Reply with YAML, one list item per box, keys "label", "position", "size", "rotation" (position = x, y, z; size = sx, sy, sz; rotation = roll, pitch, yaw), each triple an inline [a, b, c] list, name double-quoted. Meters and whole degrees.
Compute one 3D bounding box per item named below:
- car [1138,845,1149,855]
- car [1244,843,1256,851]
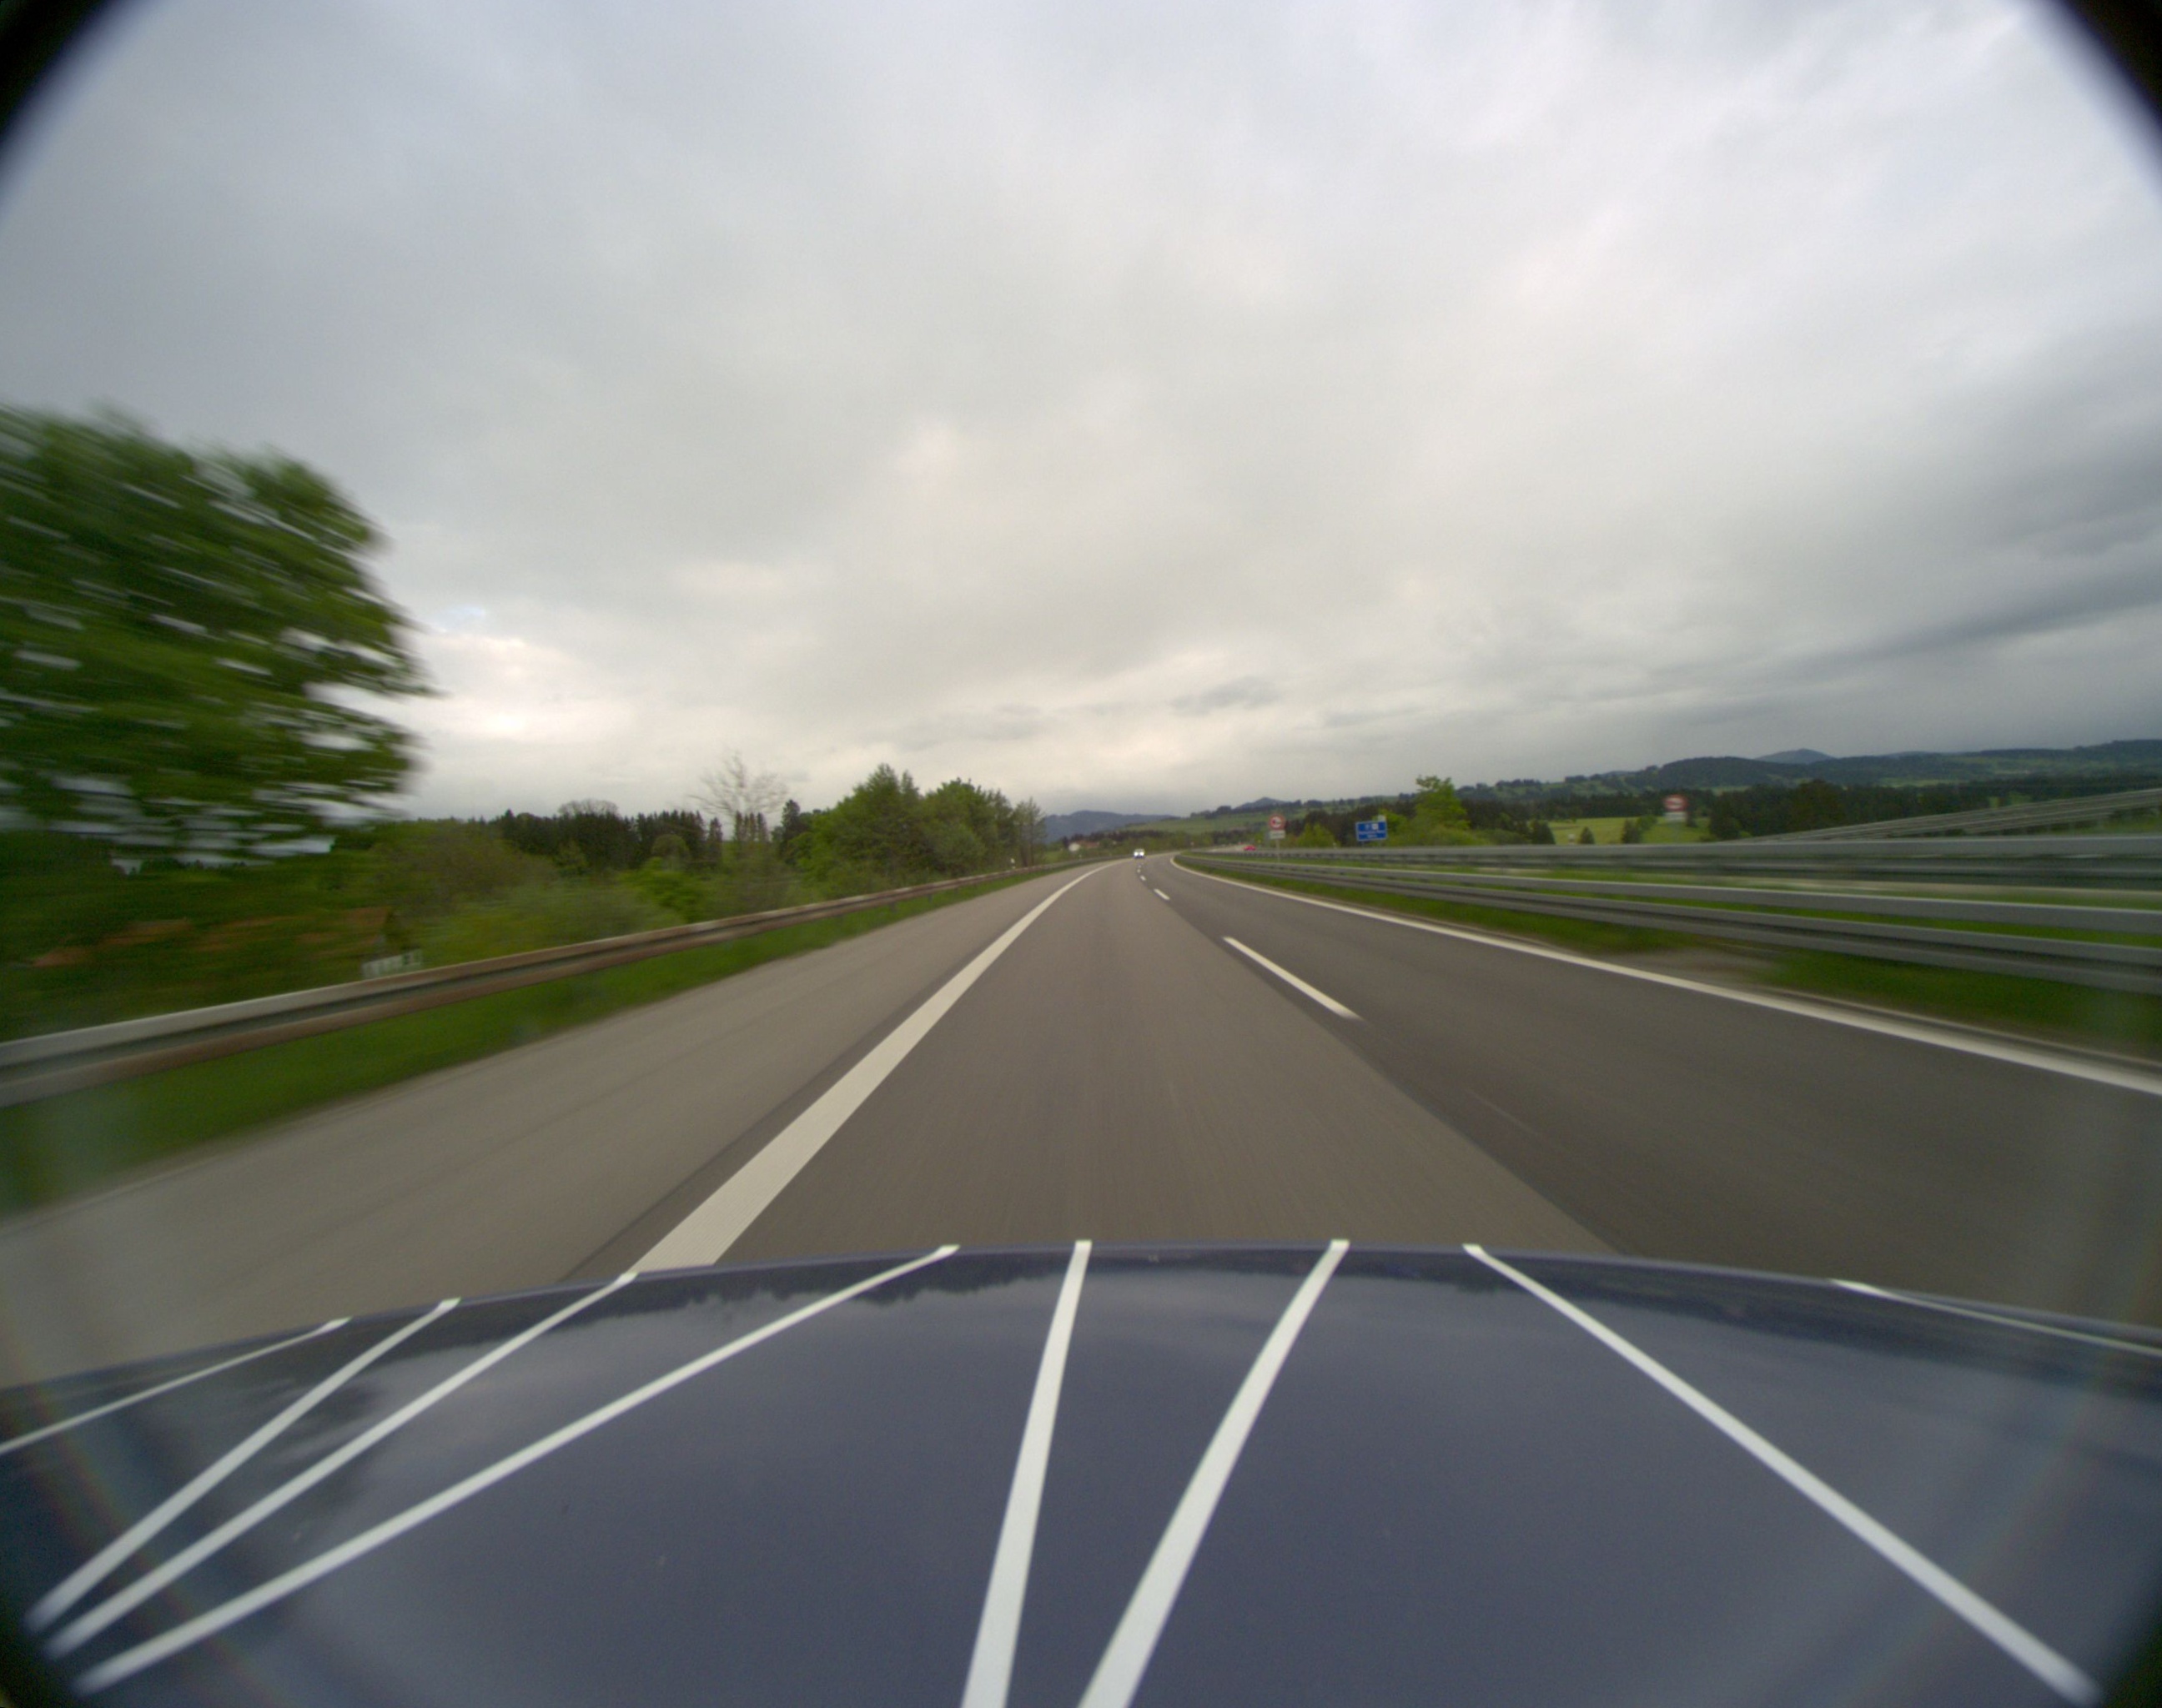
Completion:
- label: "car"
  position: [12.484, -0.692, 152.454]
  size: [2.020, 1.899, 4.222]
  rotation: [-2, 0, 6]
- label: "car"
  position: [32.618, -1.382, 146.618]
  size: [1.997, 1.489, 4.153]
  rotation: [-5, 0, 9]
